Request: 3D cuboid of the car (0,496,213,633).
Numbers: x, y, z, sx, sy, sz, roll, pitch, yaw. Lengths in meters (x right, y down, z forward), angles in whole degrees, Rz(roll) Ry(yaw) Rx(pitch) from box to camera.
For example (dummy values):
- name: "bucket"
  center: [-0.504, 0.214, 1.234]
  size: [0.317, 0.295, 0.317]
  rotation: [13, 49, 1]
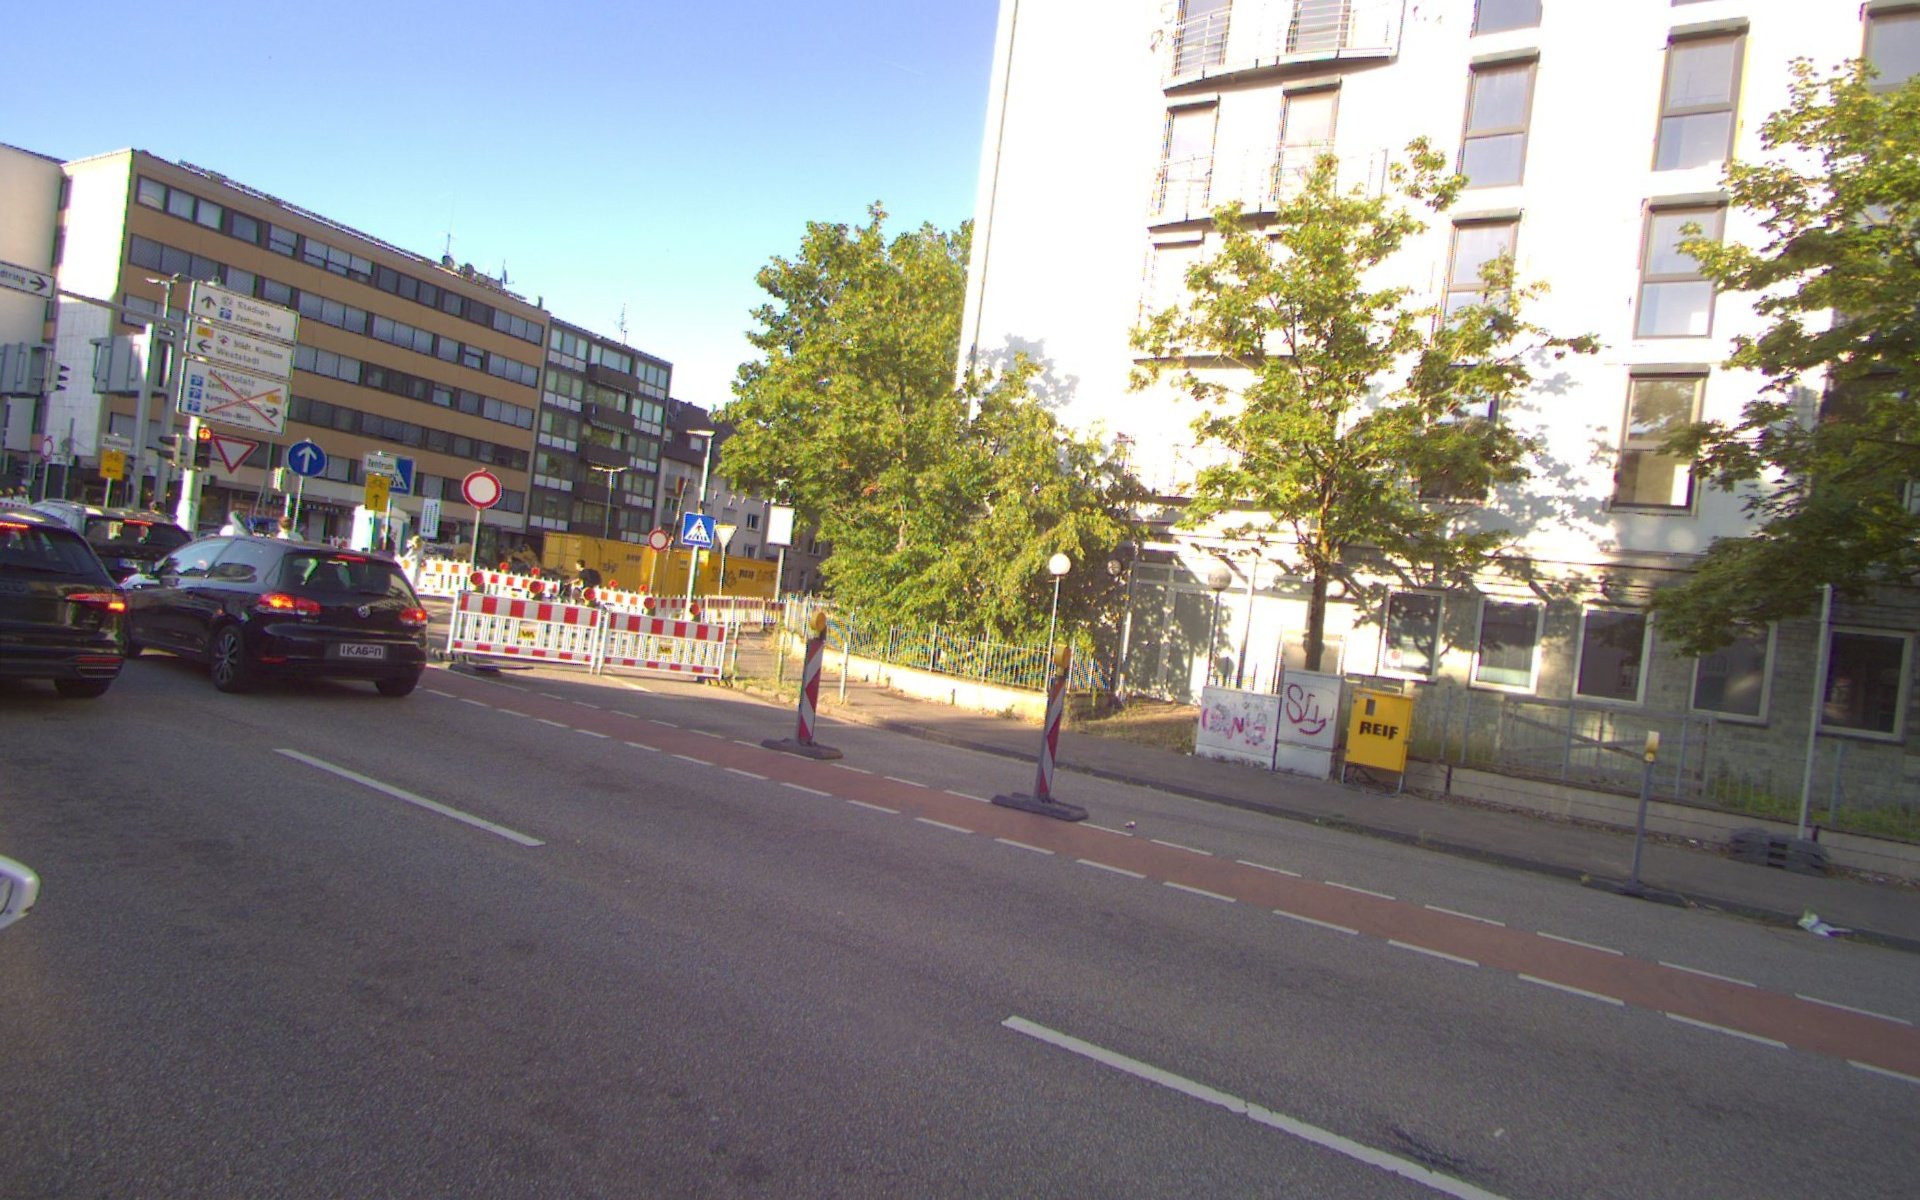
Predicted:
- name: "car"
  center: [-11.836, -0.512, 13.676]
  size: [3.250, 1.467, 1.507]
  rotation: [7, 0, 32]

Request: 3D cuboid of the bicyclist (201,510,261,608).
- name: "bicyclist"
  center: [-12.119, -0.682, 16.730]
  size: [0.713, 1.544, 0.441]
  rotation: [7, 0, 32]

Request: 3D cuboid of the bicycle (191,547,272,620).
- name: "bicycle"
  center: [-12.101, -0.287, 16.685]
  size: [1.825, 1.020, 0.337]
  rotation: [7, 0, 32]

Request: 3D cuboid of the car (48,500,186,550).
- name: "car"
  center: [-32.500, -2.854, 38.908]
  size: [1.665, 1.405, 3.684]
  rotation: [7, 0, 22]

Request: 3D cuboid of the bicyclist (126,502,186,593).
- name: "bicyclist"
  center: [-14.573, -0.942, 18.229]
  size: [0.713, 1.544, 0.514]
  rotation: [7, 0, 32]

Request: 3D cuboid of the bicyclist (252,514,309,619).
- name: "bicyclist"
  center: [-10.429, -0.514, 15.440]
  size: [0.474, 1.544, 0.441]
  rotation: [7, 0, 31]

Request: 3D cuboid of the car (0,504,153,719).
- name: "car"
  center: [-8.243, -0.129, 7.809]
  size: [4.144, 1.437, 1.685]
  rotation: [7, -2, 32]

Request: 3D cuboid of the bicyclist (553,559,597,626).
- name: "bicyclist"
  center: [-9.997, -0.196, 26.104]
  size: [0.805, 1.608, 0.615]
  rotation: [9, 0, -29]

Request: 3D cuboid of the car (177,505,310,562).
- name: "car"
  center: [-31.553, -2.914, 44.438]
  size: [1.964, 1.839, 4.227]
  rotation: [7, -1, 24]

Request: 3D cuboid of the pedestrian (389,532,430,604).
- name: "pedestrian"
  center: [-13.693, -0.787, 25.039]
  size: [0.446, 1.691, 0.604]
  rotation: [7, 0, 12]

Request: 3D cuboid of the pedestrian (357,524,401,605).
- name: "pedestrian"
  center: [-13.983, -0.845, 24.231]
  size: [0.478, 1.857, 0.572]
  rotation: [7, 0, 14]

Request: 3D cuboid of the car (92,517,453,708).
- name: "car"
  center: [-7.225, 0.102, 10.500]
  size: [3.683, 1.466, 1.637]
  rotation: [7, -2, 32]

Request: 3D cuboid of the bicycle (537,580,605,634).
- name: "bicycle"
  center: [-10.082, 0.177, 26.078]
  size: [1.484, 1.174, 0.371]
  rotation: [9, -1, -29]
